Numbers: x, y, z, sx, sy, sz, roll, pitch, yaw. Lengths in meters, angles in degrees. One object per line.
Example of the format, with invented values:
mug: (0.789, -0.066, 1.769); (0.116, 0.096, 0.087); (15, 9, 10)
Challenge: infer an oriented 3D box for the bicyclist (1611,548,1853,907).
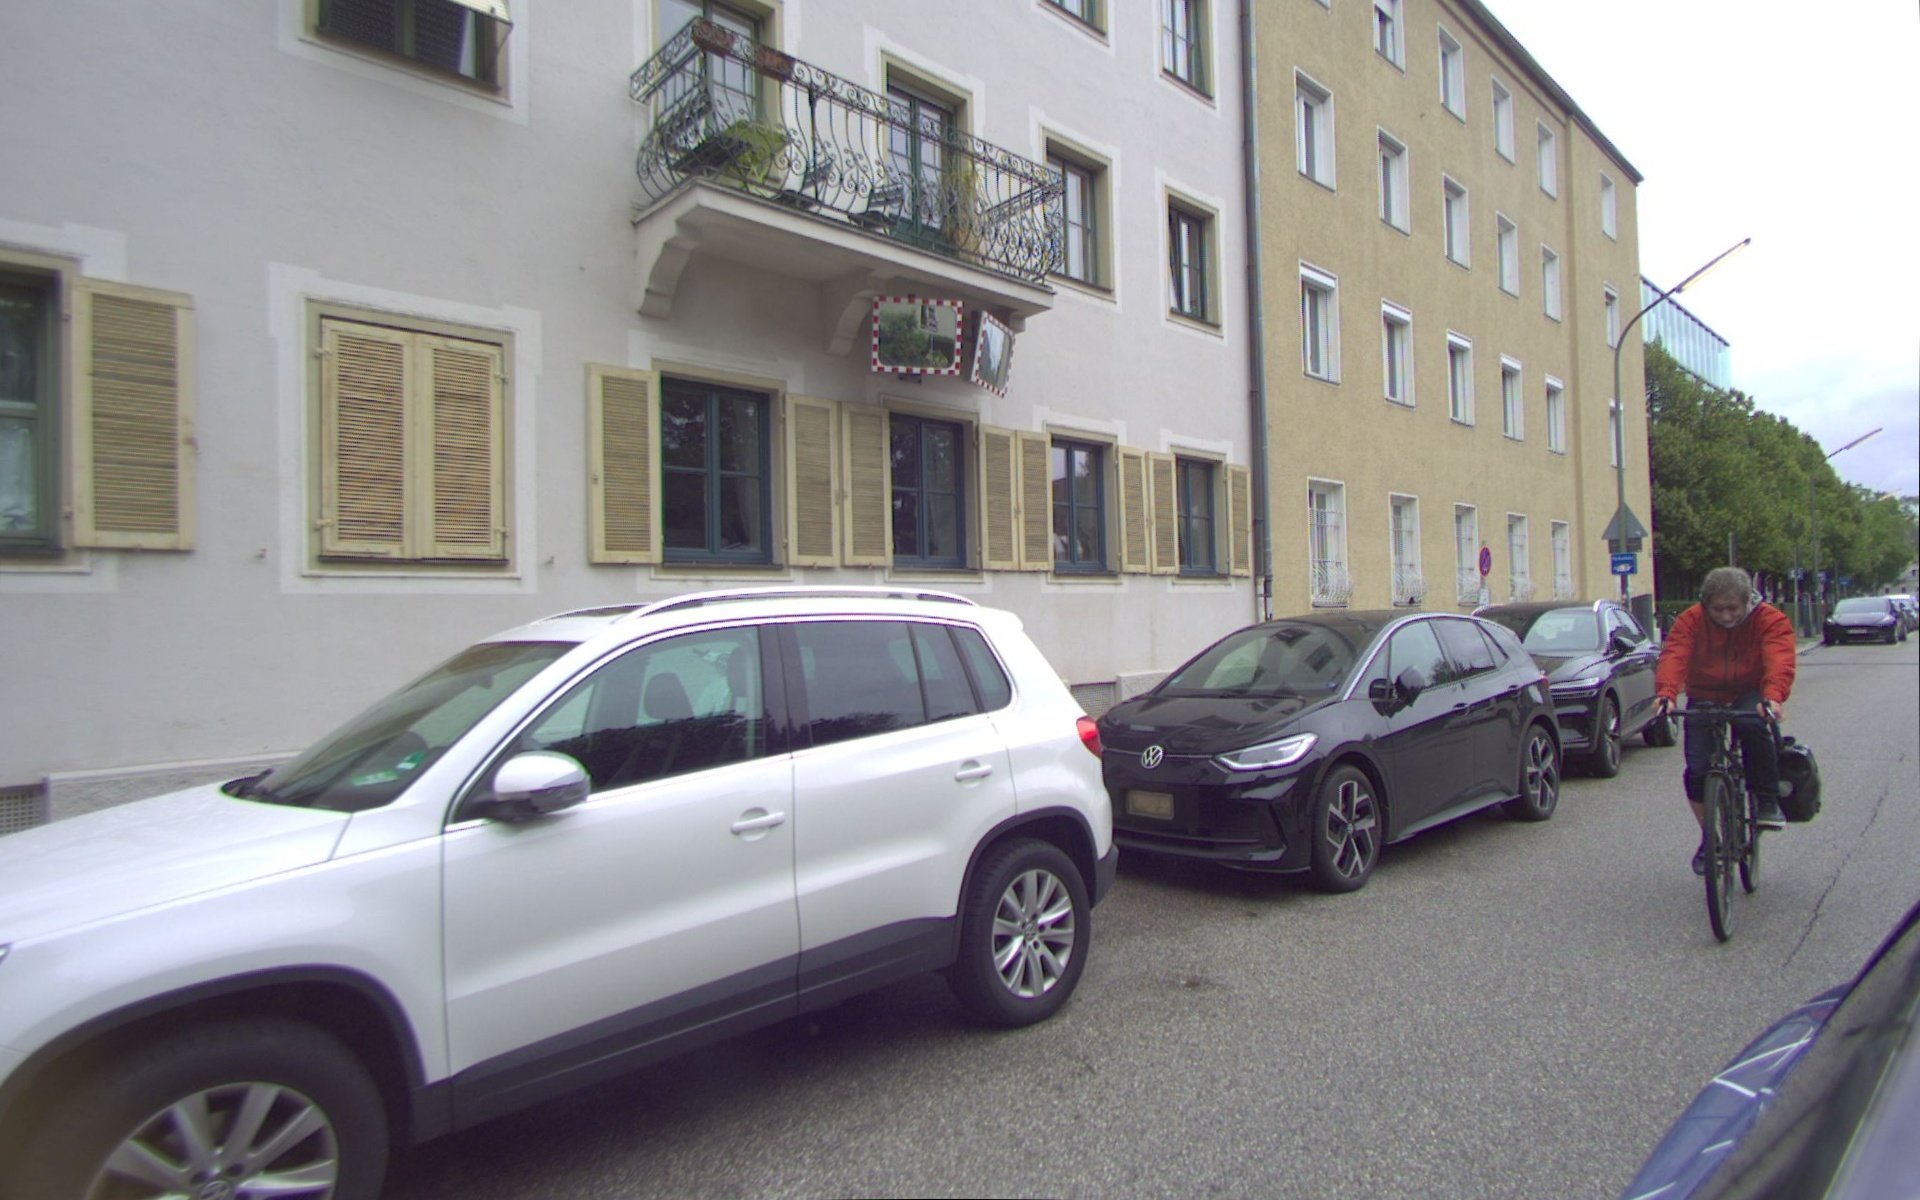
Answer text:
bicyclist: (3.715, 0.545, 4.859); (0.754, 1.502, 0.966); (-5, -3, 43)

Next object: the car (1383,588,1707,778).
car: (6.467, 0.696, 10.897); (1.860, 1.597, 4.820); (-1, -1, 45)

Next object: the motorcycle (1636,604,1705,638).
motorcycle: (25.390, 0.721, 36.196); (0.696, 1.147, 1.897); (0, 1, -42)

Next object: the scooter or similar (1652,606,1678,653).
scooter or similar: (20.012, 0.821, 28.726); (1.287, 1.271, 0.342); (-1, 0, -44)

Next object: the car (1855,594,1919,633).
car: (39.075, 0.527, 42.466); (1.993, 1.479, 4.878); (-4, -3, 44)

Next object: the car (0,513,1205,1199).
car: (-1.269, 0.753, 3.711); (4.457, 1.729, 1.995); (0, -4, -42)

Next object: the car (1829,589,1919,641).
car: (32.504, 0.512, 35.759); (5.011, 1.652, 1.996); (-1, -3, -42)

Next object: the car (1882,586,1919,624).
car: (51.084, 0.267, 54.431); (4.498, 1.920, 1.785); (0, -3, -44)

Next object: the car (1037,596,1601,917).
car: (2.715, 0.766, 7.074); (4.339, 1.551, 1.841); (0, -1, -42)

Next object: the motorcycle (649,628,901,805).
motorcycle: (-1.501, 0.905, 8.484); (1.974, 1.255, 0.732); (-1, -3, -44)

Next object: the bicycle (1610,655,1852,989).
bicycle: (3.701, 0.890, 4.782); (0.671, 1.156, 1.980); (-4, -3, 42)
